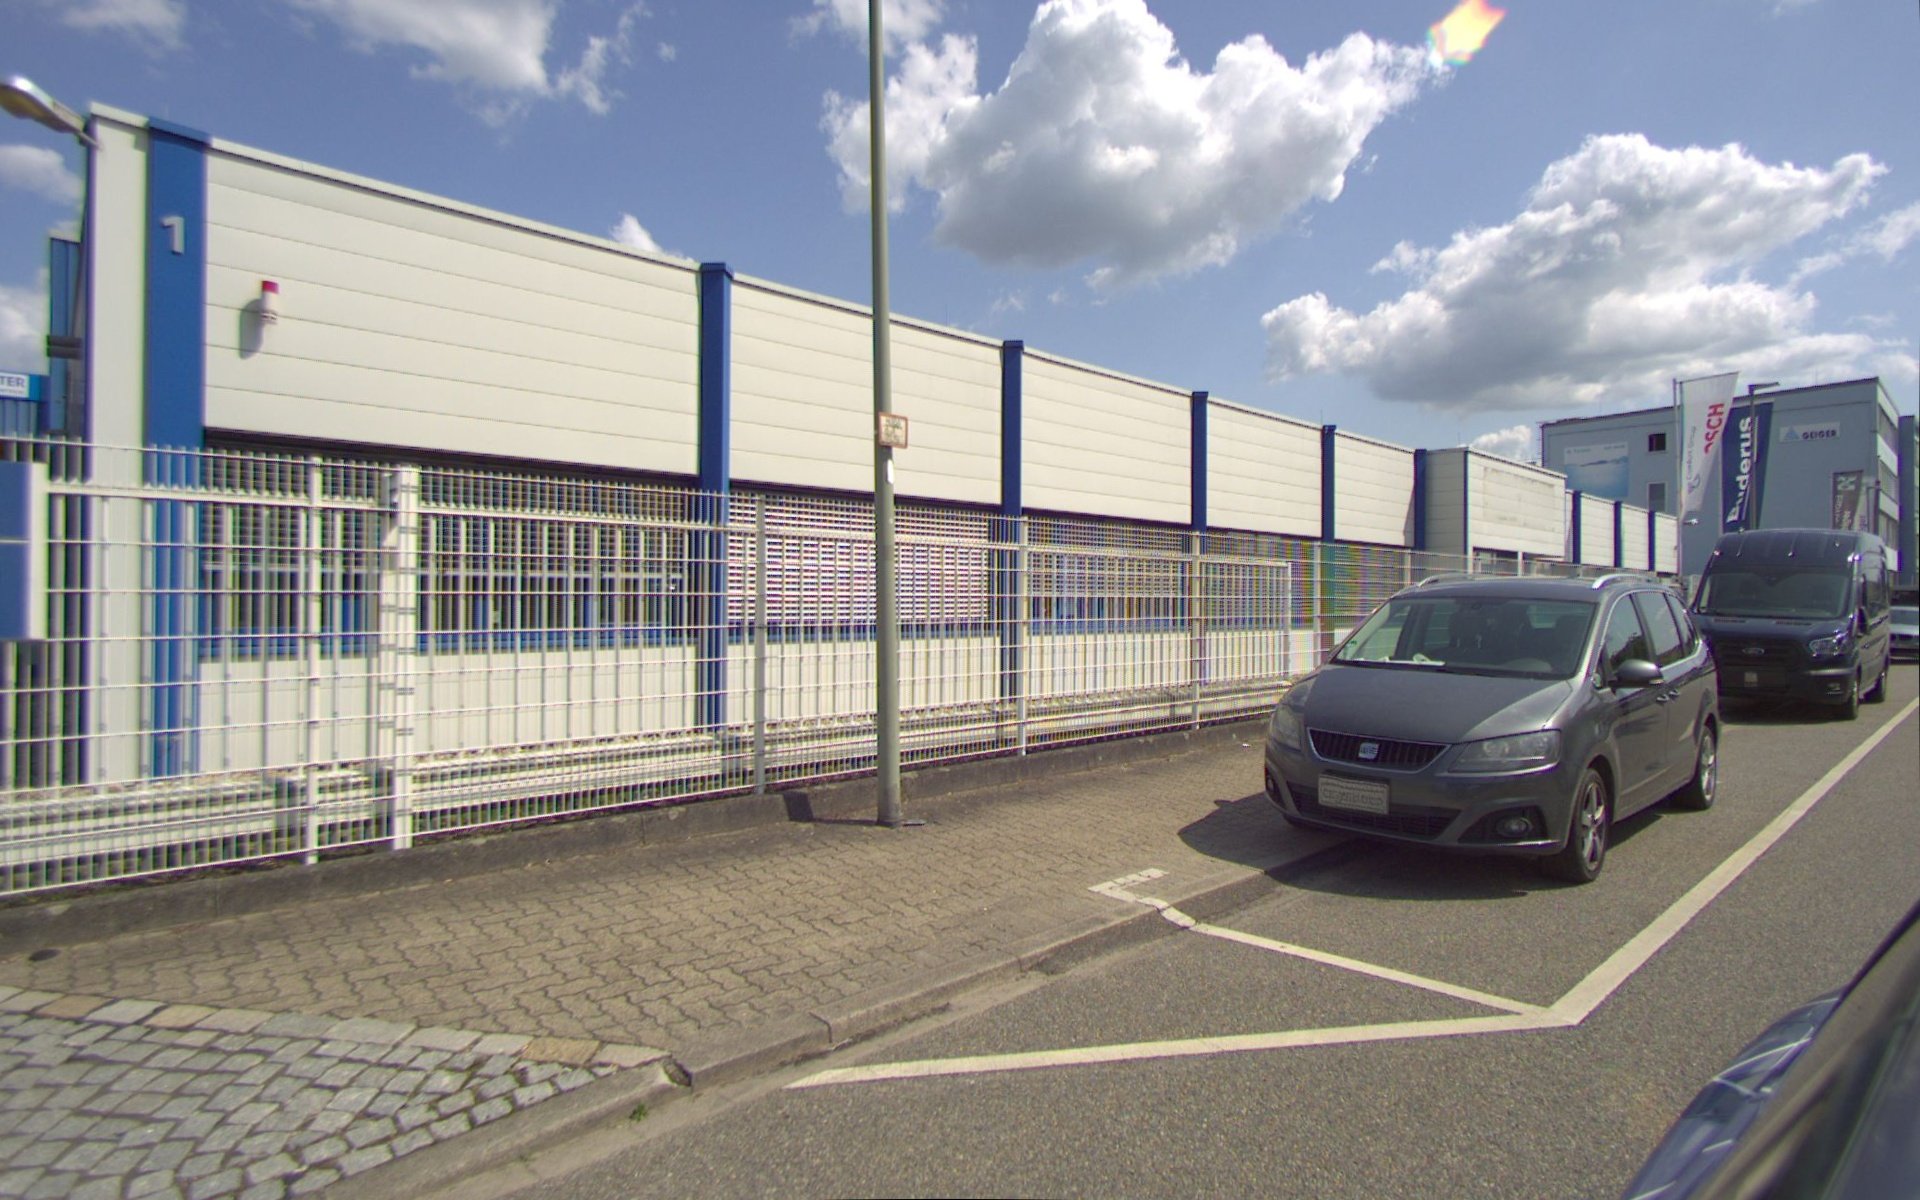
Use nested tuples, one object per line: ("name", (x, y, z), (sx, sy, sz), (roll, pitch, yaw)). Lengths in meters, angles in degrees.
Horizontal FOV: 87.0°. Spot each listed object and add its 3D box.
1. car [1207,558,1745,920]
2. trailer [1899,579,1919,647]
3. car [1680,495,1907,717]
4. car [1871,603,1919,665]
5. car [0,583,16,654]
("car", (3.749, 0.640, 6.918), (4.478, 1.685, 1.827), (0, 0, -42))
("trailer", (30.310, 0.382, 31.337), (2.695, 2.063, 1.603), (0, -1, -43))
("car", (12.901, 0.068, 15.480), (6.051, 2.783, 1.939), (0, 0, -43))
("car", (25.277, 0.861, 26.655), (4.063, 1.526, 1.574), (0, 0, -43))
("car", (-23.458, 0.442, 21.651), (4.706, 1.565, 1.668), (-1, 1, -42))
